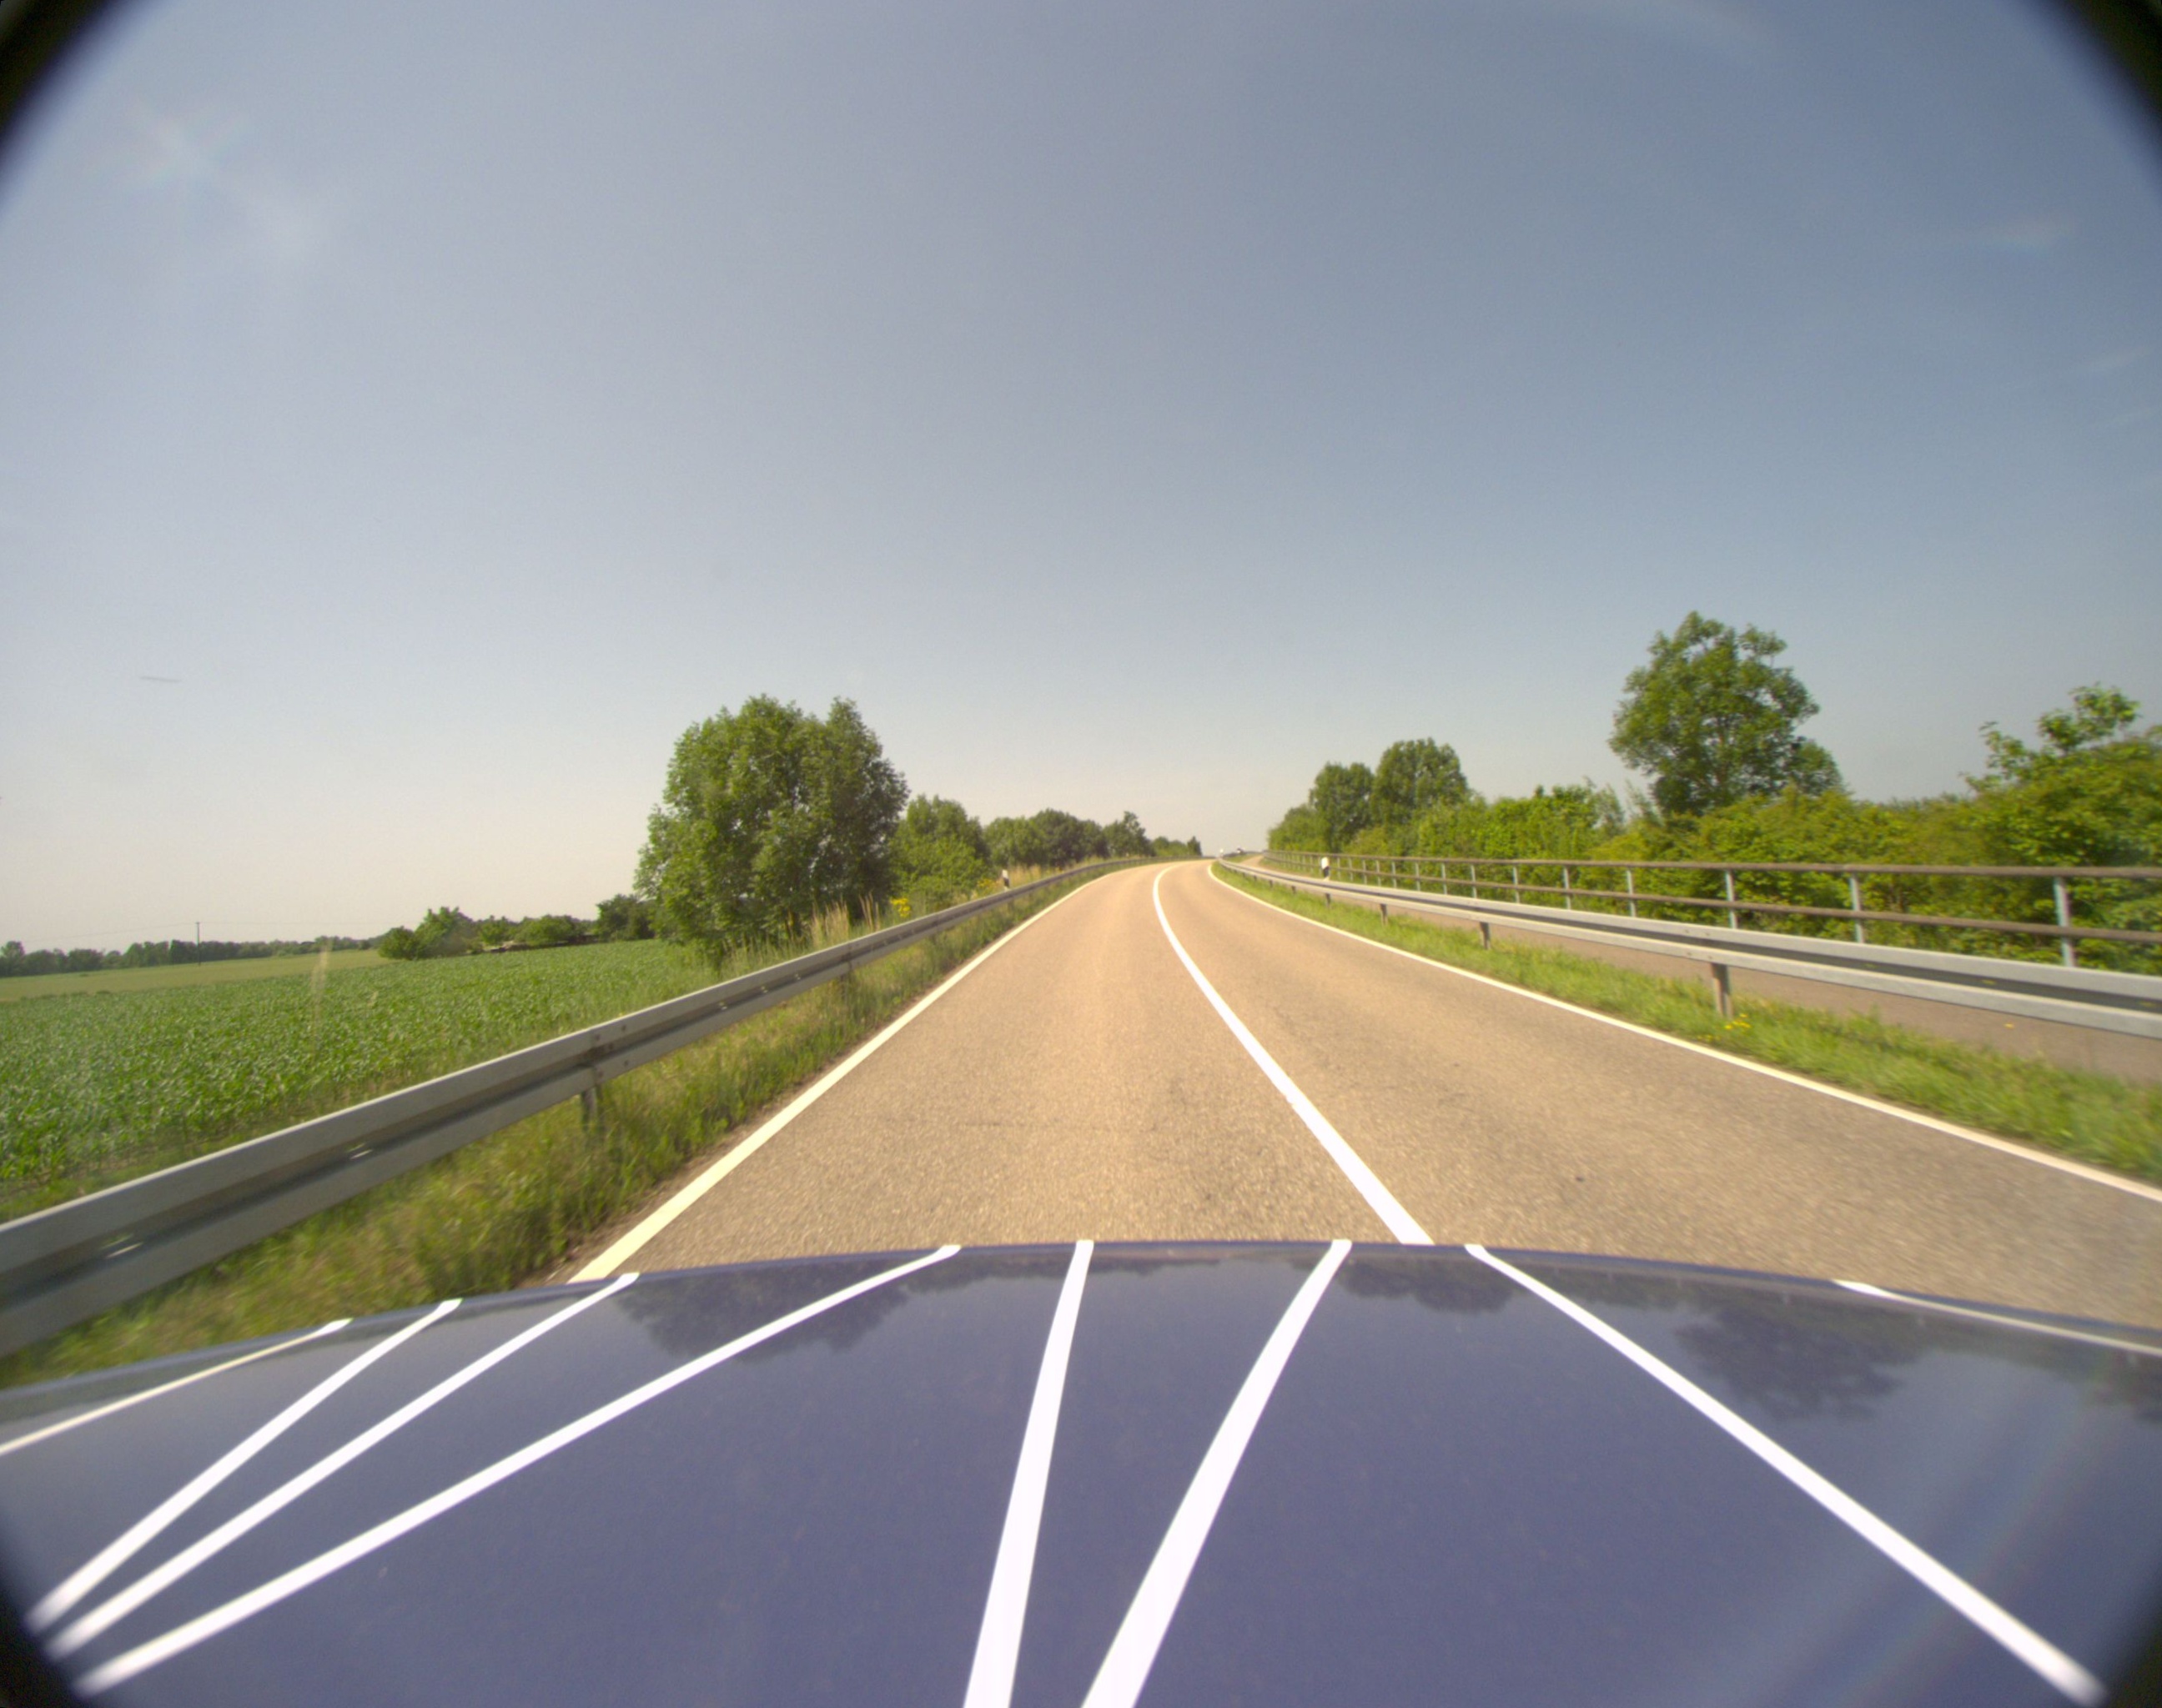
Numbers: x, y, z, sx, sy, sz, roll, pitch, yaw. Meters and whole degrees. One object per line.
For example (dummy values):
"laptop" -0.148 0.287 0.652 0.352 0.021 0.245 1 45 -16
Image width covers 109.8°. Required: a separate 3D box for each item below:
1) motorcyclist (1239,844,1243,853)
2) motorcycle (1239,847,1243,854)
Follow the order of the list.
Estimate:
"motorcyclist" 26.054 -0.892 123.707 0.655 1.553 0.776 -1 1 14
"motorcycle" 26.106 -0.583 123.830 0.644 1.216 1.640 -1 1 14
